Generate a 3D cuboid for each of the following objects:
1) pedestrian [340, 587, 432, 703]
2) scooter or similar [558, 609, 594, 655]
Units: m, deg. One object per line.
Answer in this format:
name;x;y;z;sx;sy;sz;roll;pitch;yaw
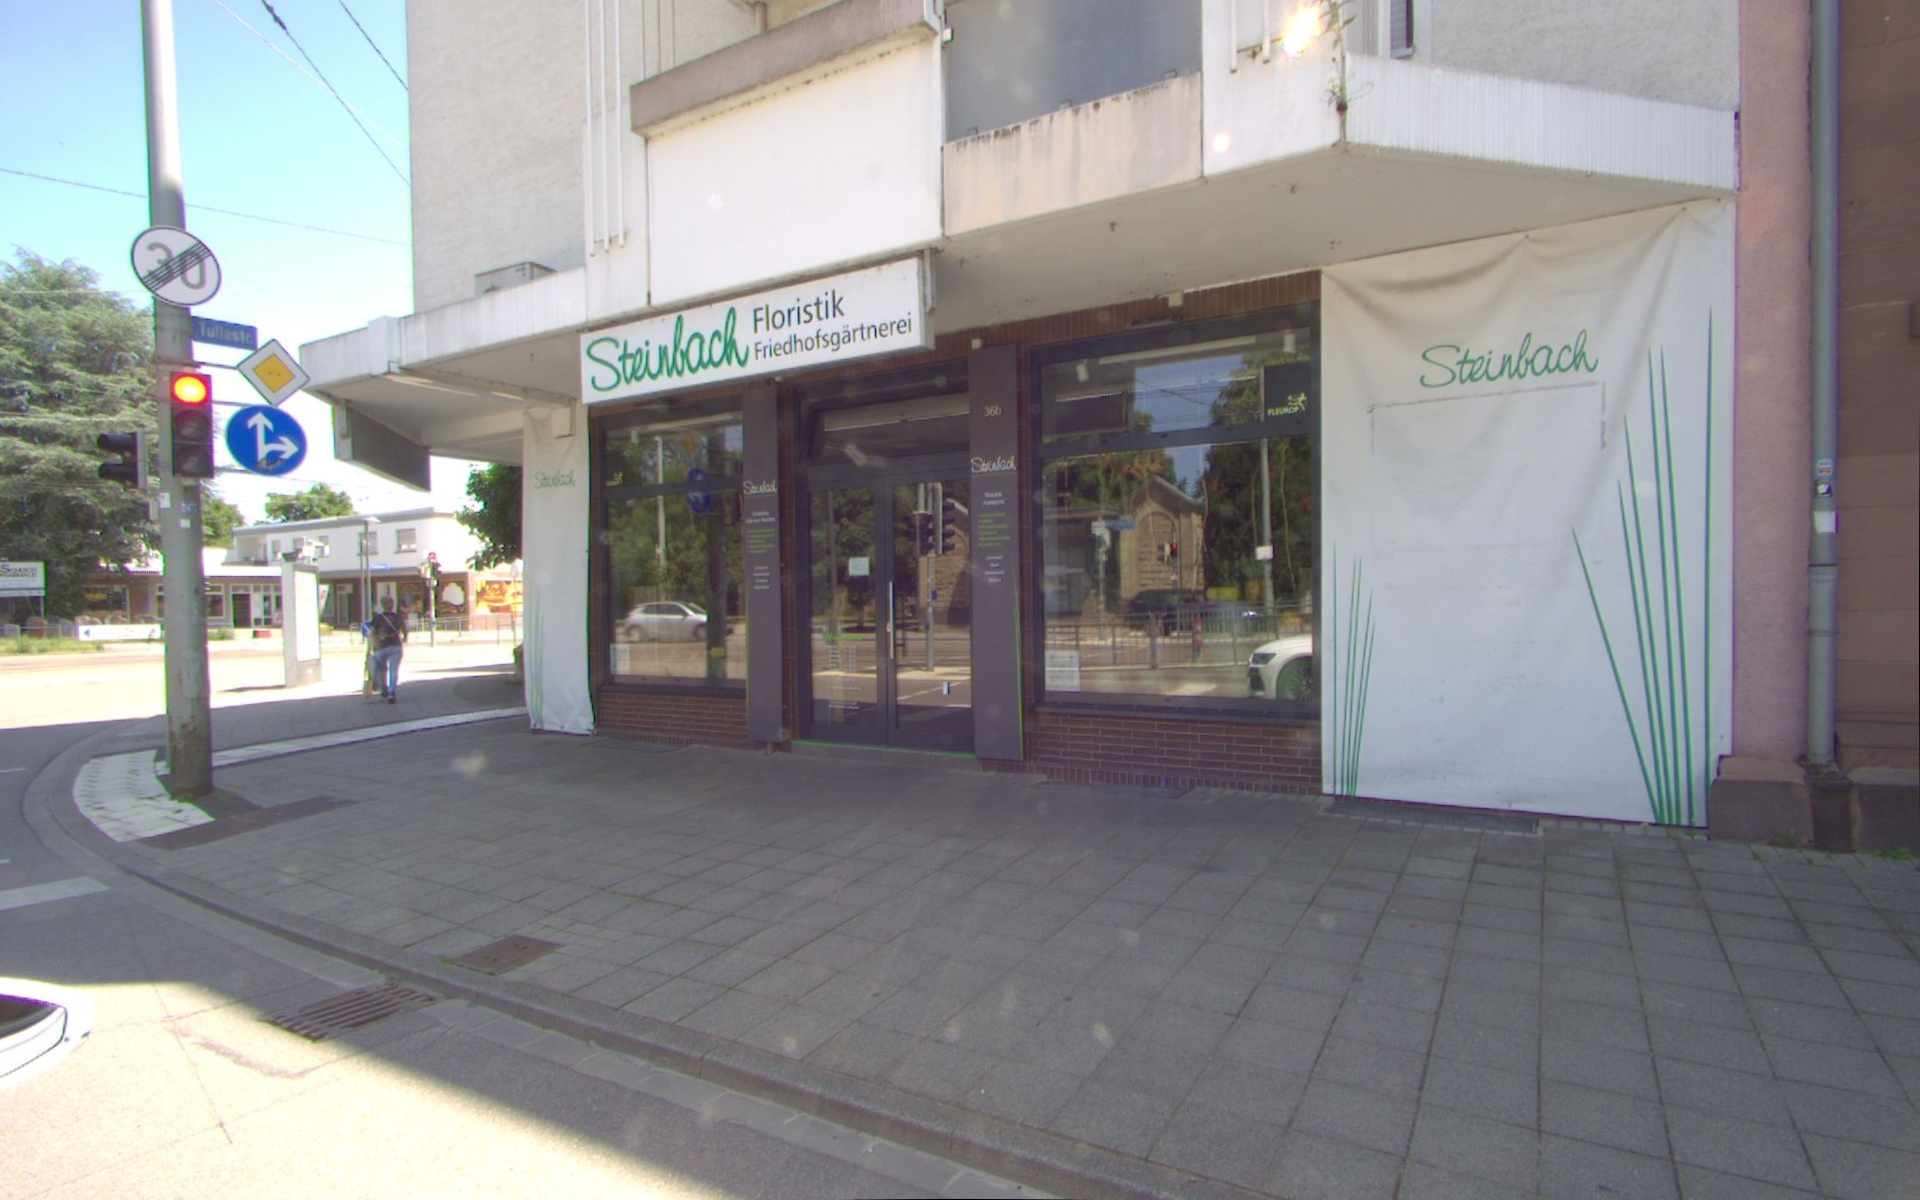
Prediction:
pedestrian;-8.451;0.640;14.762;0.816;1.606;0.822;0;4;38
scooter or similar;-10.486;0.868;27.363;0.387;1.229;1.255;-1;0;5
